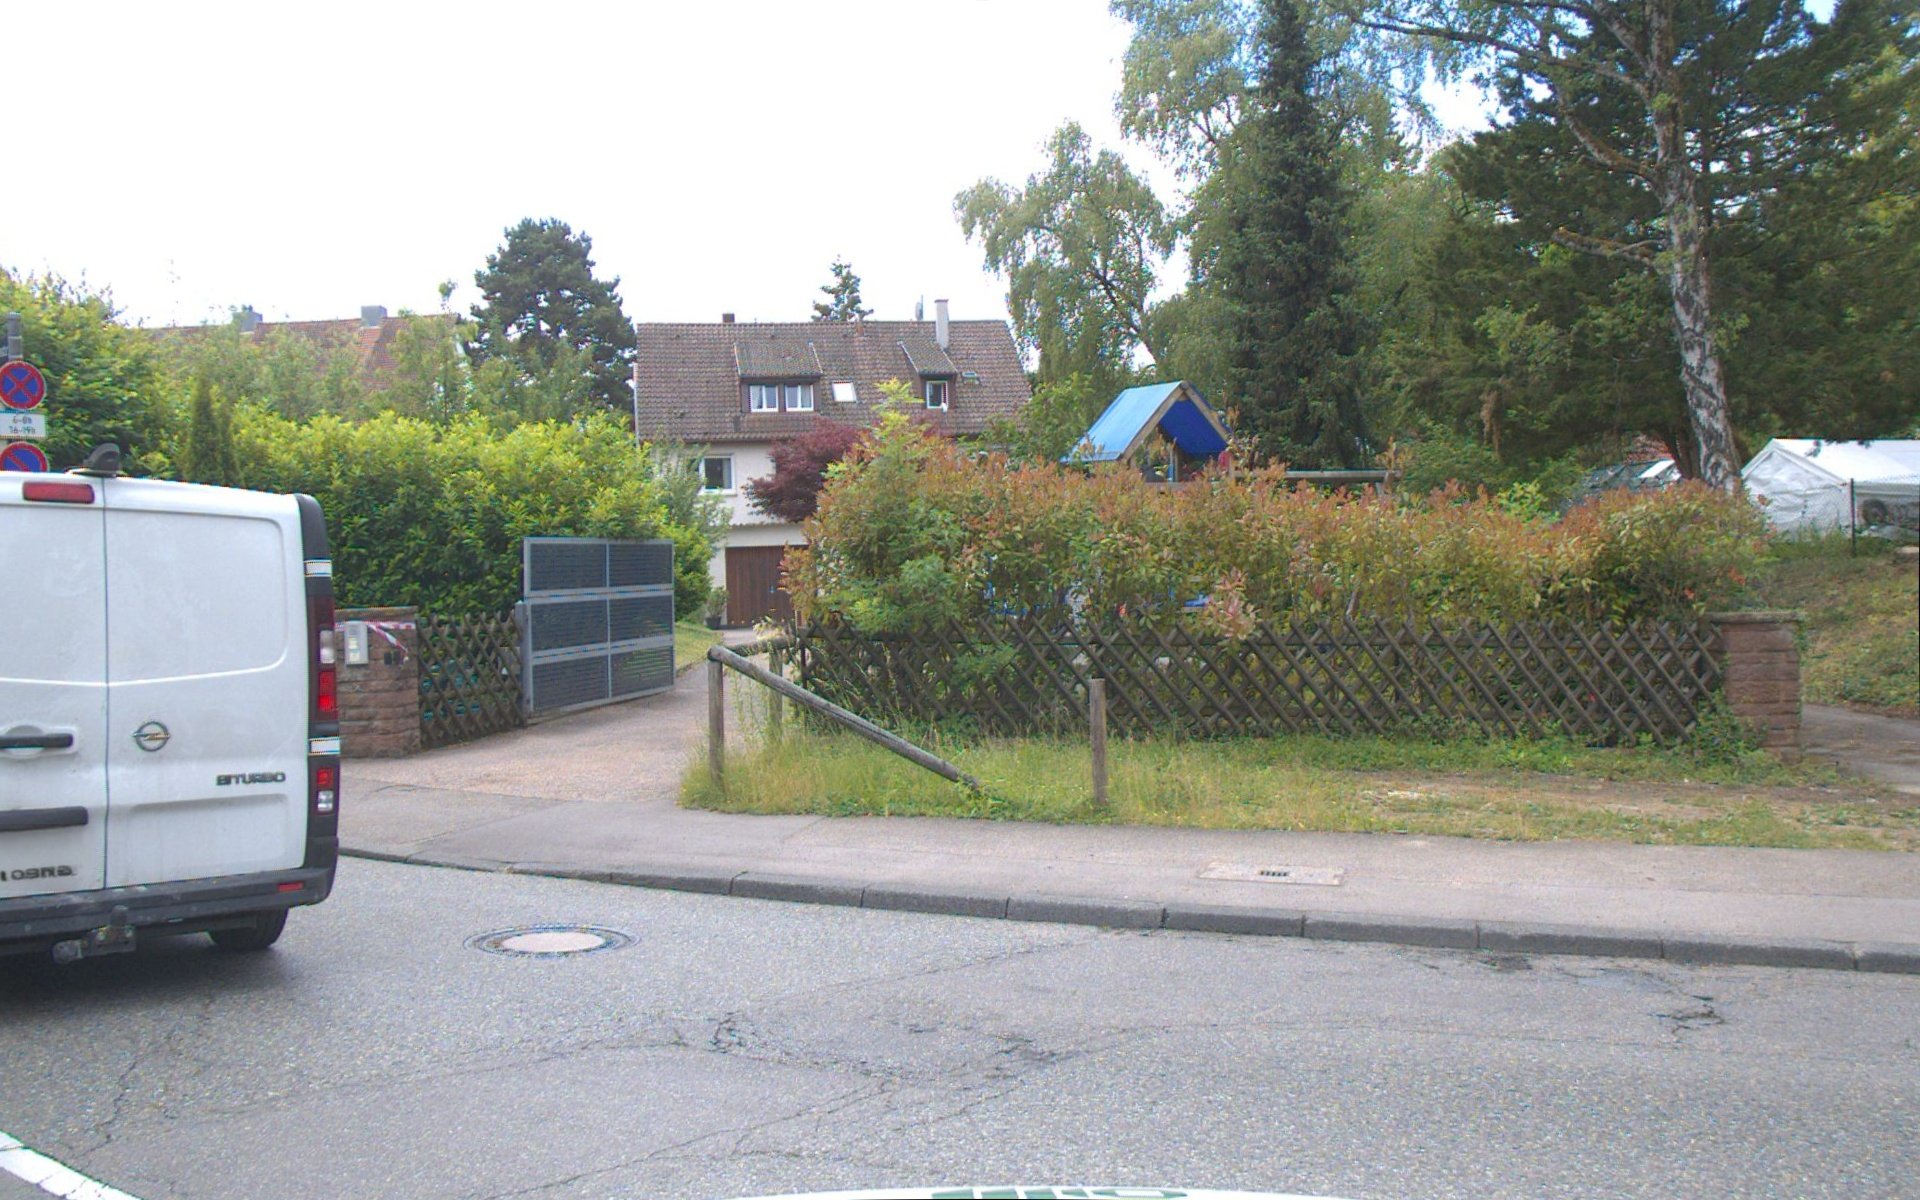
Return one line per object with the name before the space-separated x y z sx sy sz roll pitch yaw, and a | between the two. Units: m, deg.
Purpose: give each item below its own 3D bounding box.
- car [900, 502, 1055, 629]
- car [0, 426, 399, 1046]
car | 0.234 -0.588 30.591 1.958 2.048 4.273 -5 0 -10
car | -4.599 0.494 7.618 1.997 2.074 4.930 1 -1 -43
